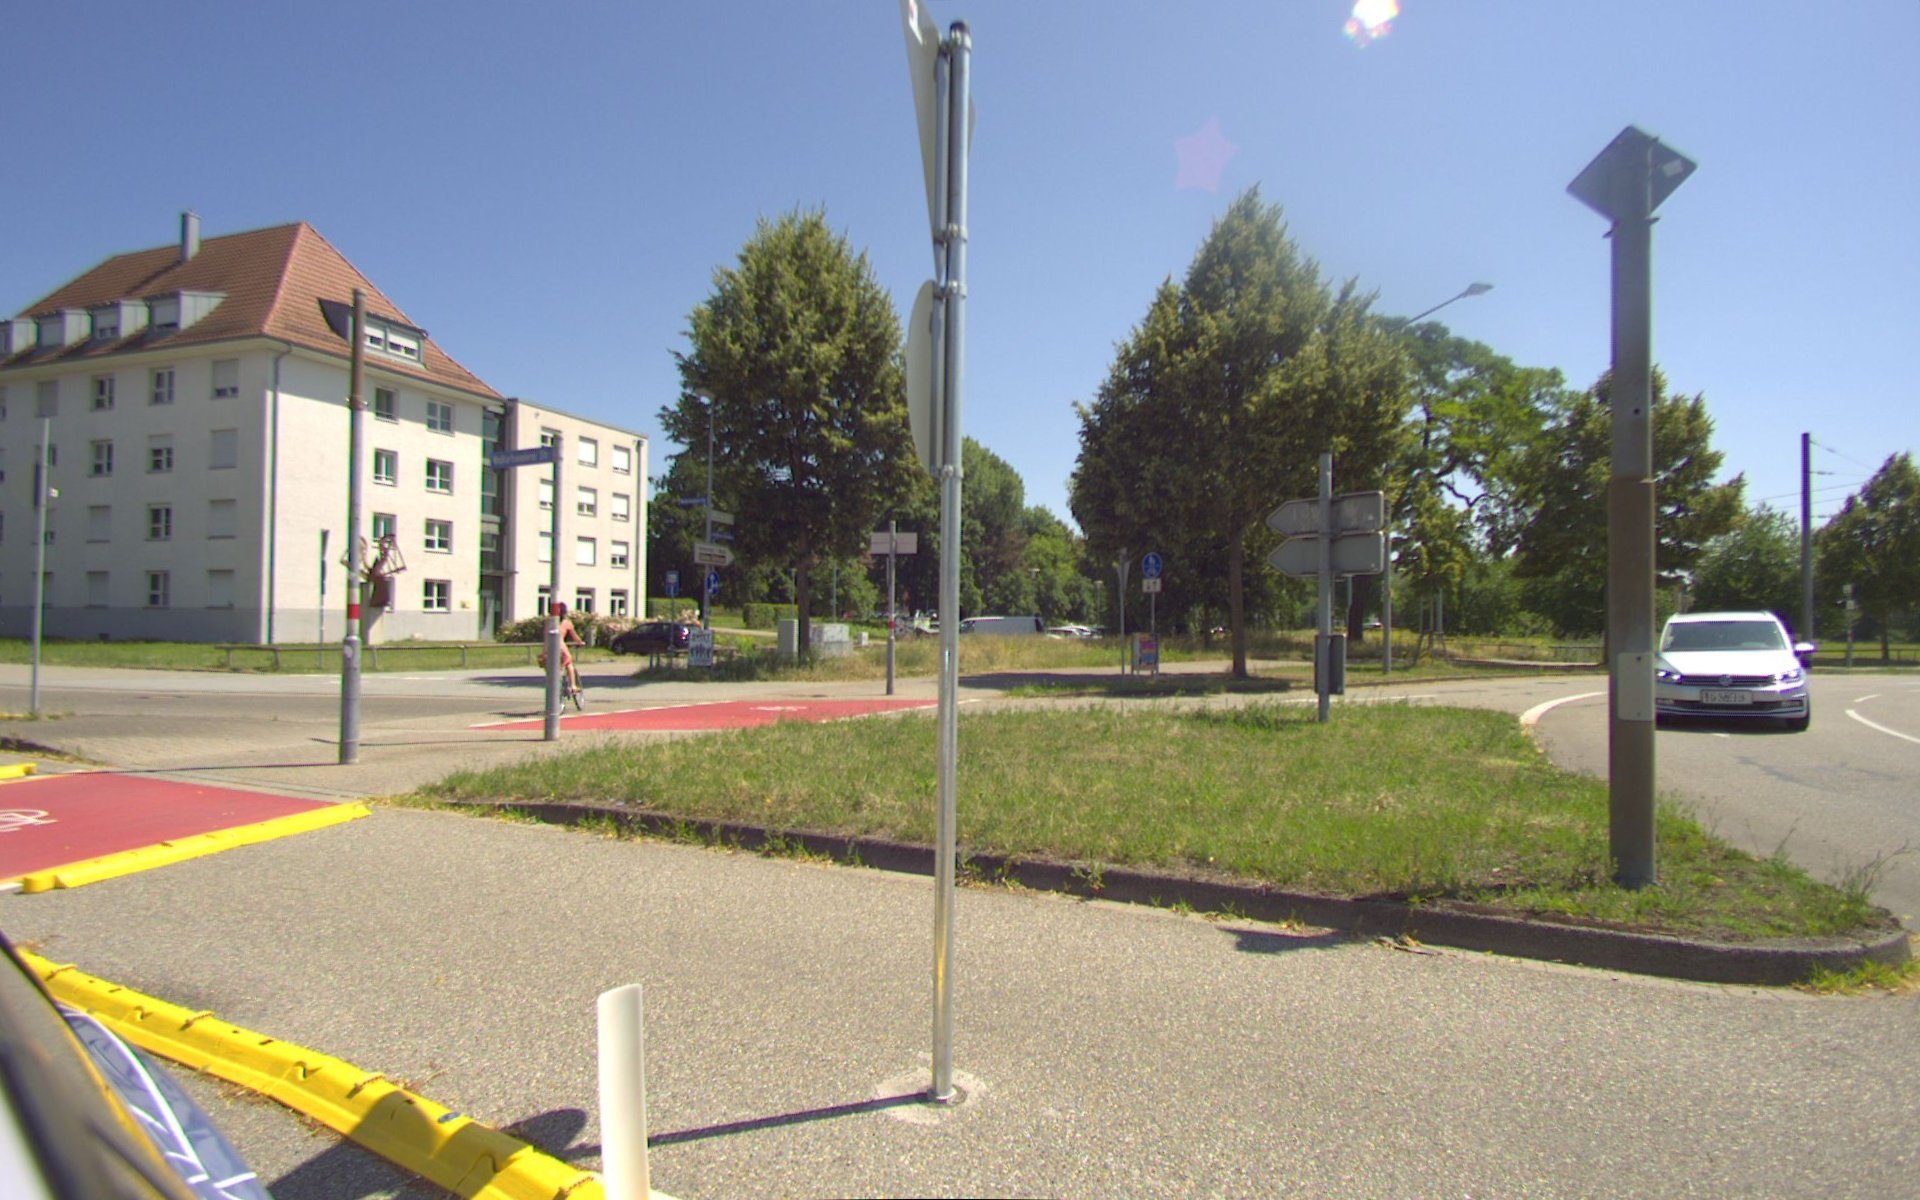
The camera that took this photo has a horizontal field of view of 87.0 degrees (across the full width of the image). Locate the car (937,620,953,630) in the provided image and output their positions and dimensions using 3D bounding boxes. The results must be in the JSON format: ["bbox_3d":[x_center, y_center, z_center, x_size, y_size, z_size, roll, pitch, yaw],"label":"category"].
[{"bbox_3d":[-2.056,3.407,137.259,1.466,1.427,3.012,0,-2,15],"label":"car"}]

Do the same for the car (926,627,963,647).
[{"bbox_3d":[-1.126,2.671,73.079,2.516,1.368,1.074,0,-2,27],"label":"car"}]

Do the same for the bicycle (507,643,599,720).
[{"bbox_3d":[-6.217,1.217,15.584,0.433,1.066,2.086,2,-2,3],"label":"bicycle"}]

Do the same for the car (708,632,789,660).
[{"bbox_3d":[-9.749,2.083,46.630,3.488,1.227,1.347,0,-2,21],"label":"car"}]

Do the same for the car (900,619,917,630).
[{"bbox_3d":[-7.059,3.400,139.190,1.466,1.427,3.012,0,-2,15],"label":"car"}]

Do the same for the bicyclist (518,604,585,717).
[{"bbox_3d":[-6.229,0.923,15.463,0.637,1.677,0.709,1,-4,3],"label":"bicyclist"}]

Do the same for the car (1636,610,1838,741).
[{"bbox_3d":[11.709,1.033,15.120,1.807,1.661,4.537,-3,-3,45],"label":"car"}]

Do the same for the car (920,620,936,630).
[{"bbox_3d":[-4.366,3.409,138.076,1.466,1.427,3.012,0,-2,15],"label":"car"}]

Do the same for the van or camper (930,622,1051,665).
[{"bbox_3d":[1.419,1.955,46.567,5.232,1.871,1.987,0,-2,20],"label":"van or camper"}]

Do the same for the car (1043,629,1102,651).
[{"bbox_3d":[6.959,2.467,62.623,3.367,1.291,1.344,0,-2,28],"label":"car"}]

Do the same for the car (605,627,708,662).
[{"bbox_3d":[-12.320,1.775,41.131,3.780,1.337,1.648,0,-2,21],"label":"car"}]
